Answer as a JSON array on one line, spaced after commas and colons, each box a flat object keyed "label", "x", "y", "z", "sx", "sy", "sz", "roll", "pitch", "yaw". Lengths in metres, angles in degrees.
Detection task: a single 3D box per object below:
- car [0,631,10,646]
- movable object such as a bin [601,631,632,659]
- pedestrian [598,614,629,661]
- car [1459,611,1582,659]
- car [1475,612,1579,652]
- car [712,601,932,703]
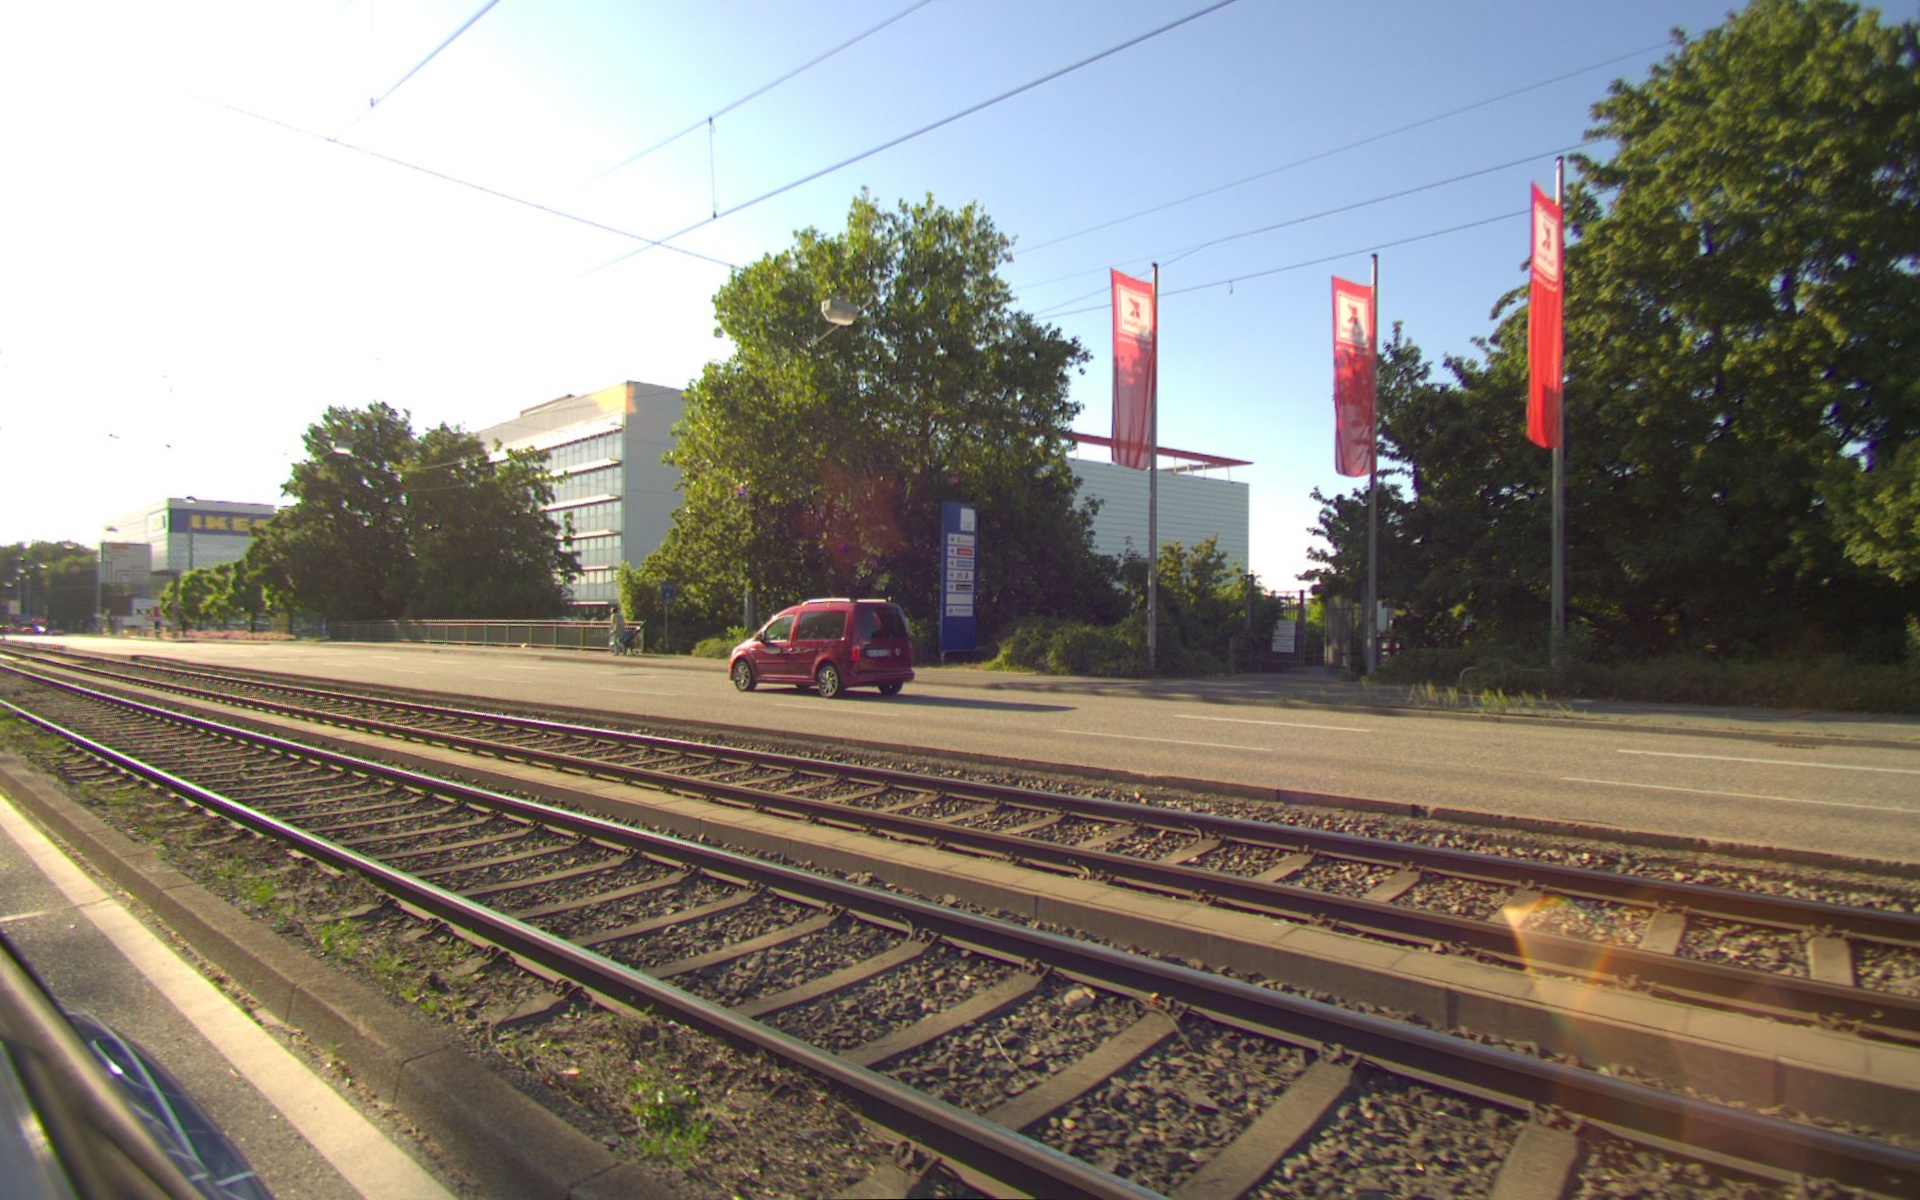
[{"label": "car", "x": -148.985, "y": 6.023, "z": 157.141, "sx": 1.970, "sy": 2.311, "sz": 4.005, "roll": -2, "pitch": 1, "yaw": -42}, {"label": "movable object such as a bin", "x": -12.694, "y": 1.669, "z": 37.345, "sx": 1.083, "sy": 0.972, "sz": 0.606, "roll": 0, "pitch": 1, "yaw": 41}, {"label": "pedestrian", "x": -12.699, "y": 1.361, "z": 37.089, "sx": 1.083, "sy": 1.660, "sz": 0.606, "roll": 0, "pitch": 1, "yaw": 41}, {"label": "car", "x": 21.725, "y": 1.295, "z": 39.277, "sx": 3.895, "sy": 1.696, "sz": 1.767, "roll": 0, "pitch": 1, "yaw": 42}, {"label": "car", "x": 26.065, "y": 1.417, "z": 46.616, "sx": 3.895, "sy": 1.696, "sz": 1.767, "roll": 0, "pitch": 1, "yaw": 42}, {"label": "car", "x": -2.813, "y": 0.952, "z": 20.110, "sx": 4.348, "sy": 1.809, "sz": 1.972, "roll": 0, "pitch": -2, "yaw": 41}]
